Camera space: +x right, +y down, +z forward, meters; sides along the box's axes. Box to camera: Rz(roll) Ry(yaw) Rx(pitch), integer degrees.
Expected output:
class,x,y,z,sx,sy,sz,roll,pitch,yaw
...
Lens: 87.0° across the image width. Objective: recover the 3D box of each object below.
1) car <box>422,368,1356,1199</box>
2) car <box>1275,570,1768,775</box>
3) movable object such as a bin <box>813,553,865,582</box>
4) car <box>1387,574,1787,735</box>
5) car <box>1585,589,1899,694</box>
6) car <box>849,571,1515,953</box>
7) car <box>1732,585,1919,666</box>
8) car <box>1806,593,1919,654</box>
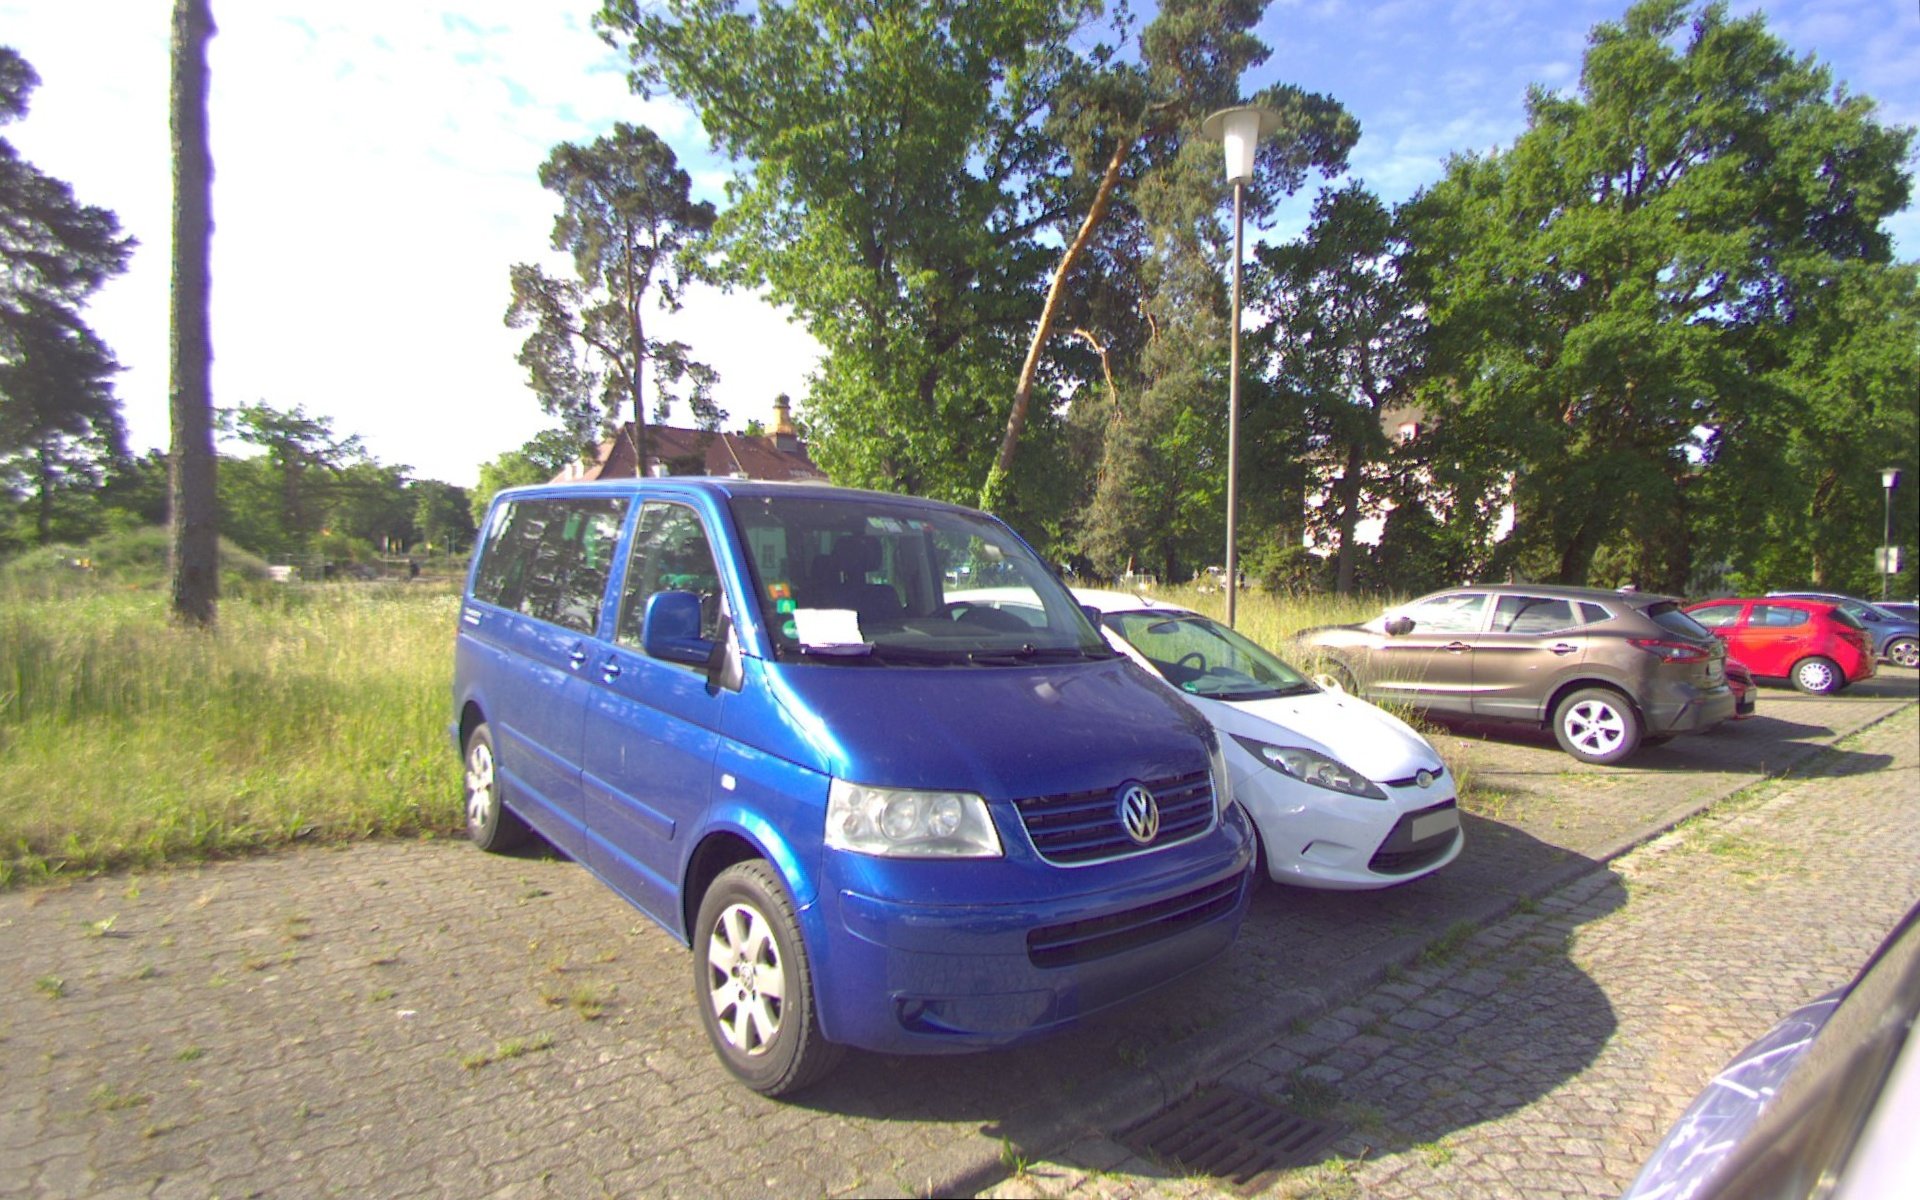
class,x,y,z,sx,sy,sz,roll,pitch,yaw
car,-0.911,0.337,4.786,1.964,2.038,4.767,0,3,-39
car,5.603,0.557,10.523,1.755,1.631,4.114,0,2,-41
movable object such as a bin,-12.792,-3.433,106.921,4.974,2.937,2.182,0,2,-34
car,7.553,0.533,12.496,1.673,1.557,3.835,0,2,-39
car,13.166,0.608,17.245,1.513,1.514,3.995,0,1,-40
car,1.072,0.646,6.192,1.582,1.484,3.727,0,3,-42
car,20.929,0.569,23.681,1.622,1.618,4.272,0,3,-40
car,24.733,0.616,26.410,1.715,1.484,3.809,0,1,-39
